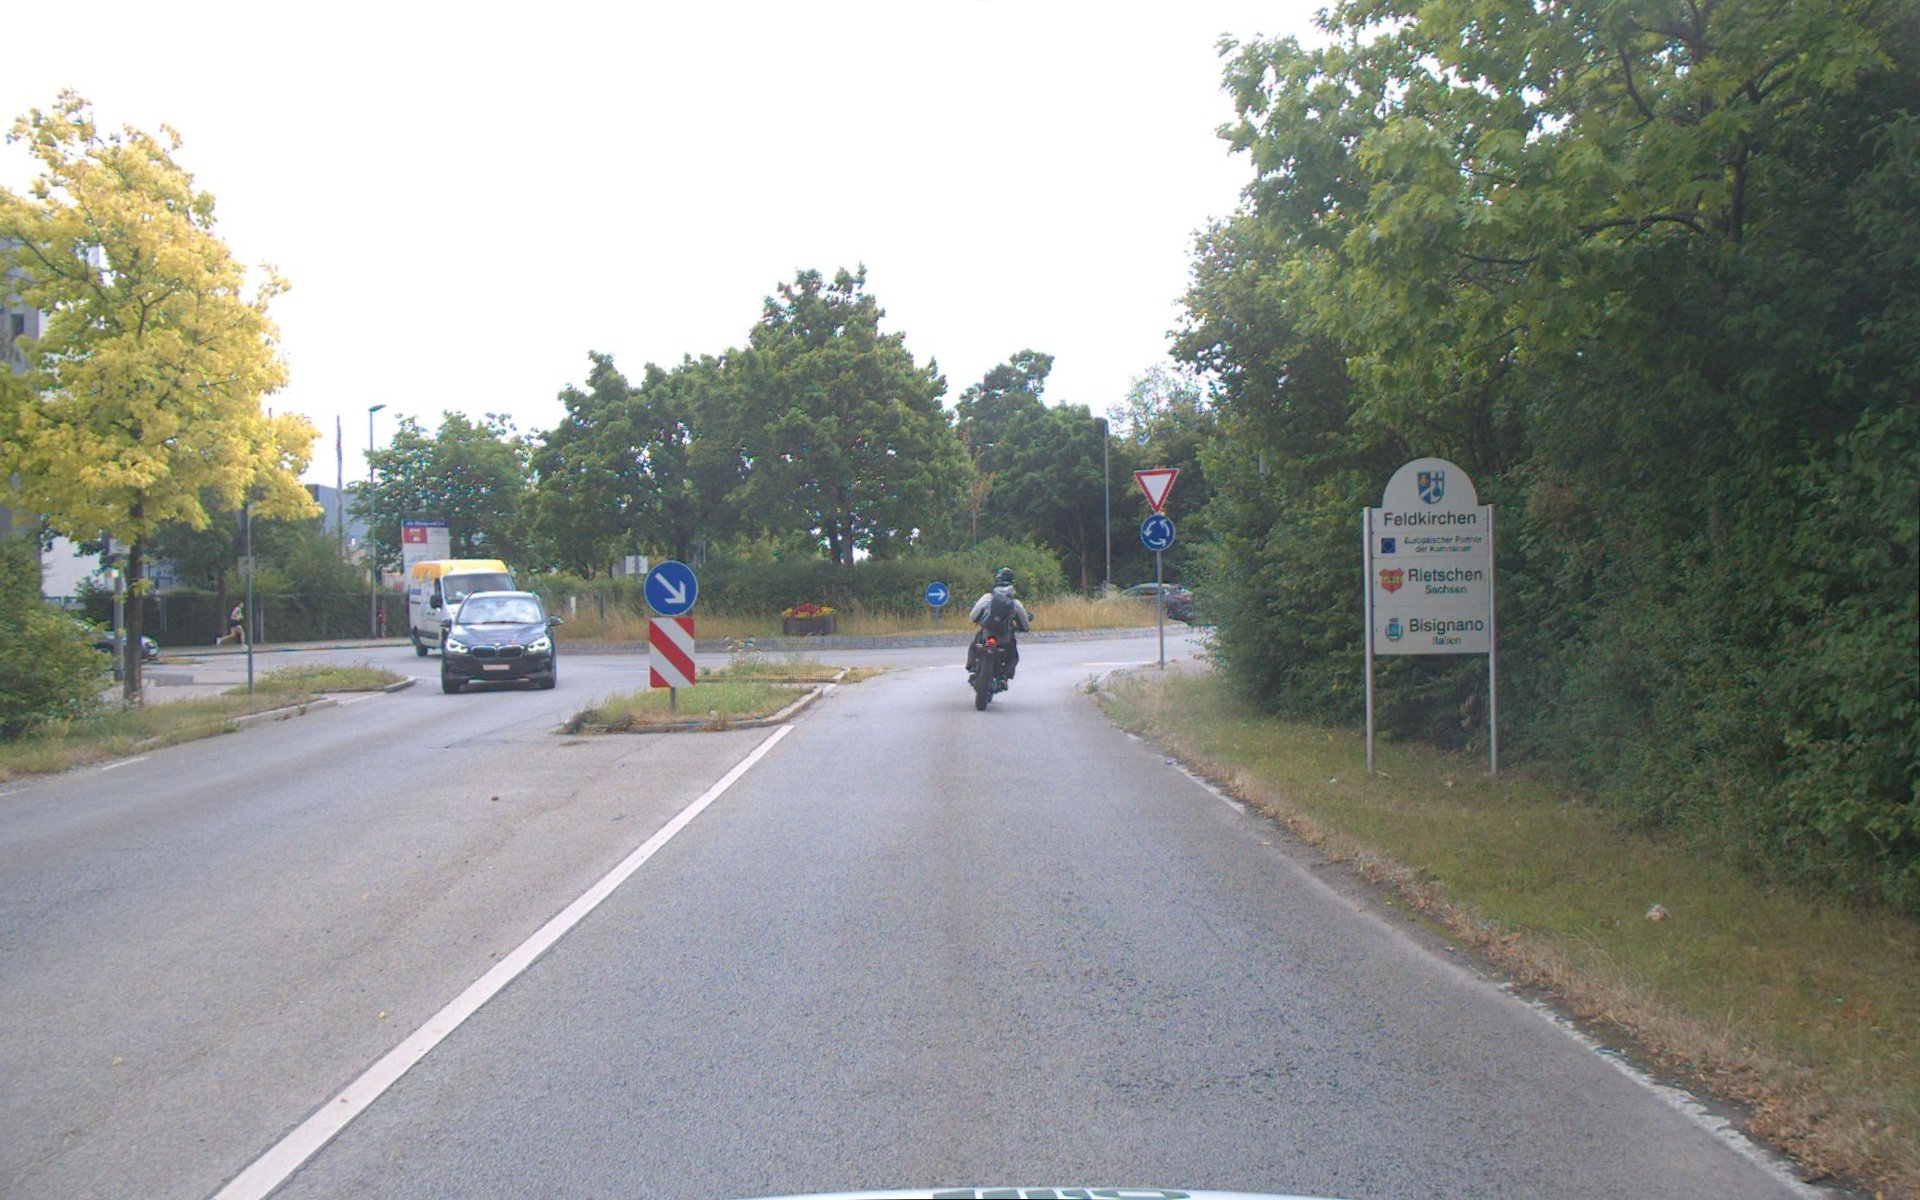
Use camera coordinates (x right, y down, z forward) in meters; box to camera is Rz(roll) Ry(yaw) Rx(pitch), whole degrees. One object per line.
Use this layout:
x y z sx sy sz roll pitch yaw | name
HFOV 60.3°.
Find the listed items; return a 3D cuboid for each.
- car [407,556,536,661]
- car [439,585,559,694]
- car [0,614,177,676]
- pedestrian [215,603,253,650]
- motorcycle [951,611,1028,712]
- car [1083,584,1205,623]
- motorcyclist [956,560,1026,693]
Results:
-12.779 0.198 43.033 2.138 2.494 5.391 -2 1 -28 | car
-7.792 0.643 28.274 1.708 1.613 4.341 -3 0 -13 | car
-22.299 1.115 41.432 4.366 1.371 1.935 -2 1 -3 | car
-23.705 0.861 54.010 0.621 1.494 0.943 -1 0 42 | pedestrian
0.414 0.753 21.310 0.878 1.178 2.621 -1 0 3 | motorcycle
6.633 0.113 59.637 3.913 1.277 1.996 -2 0 30 | car
0.414 0.329 21.358 0.843 1.652 1.191 -1 0 3 | motorcyclist
